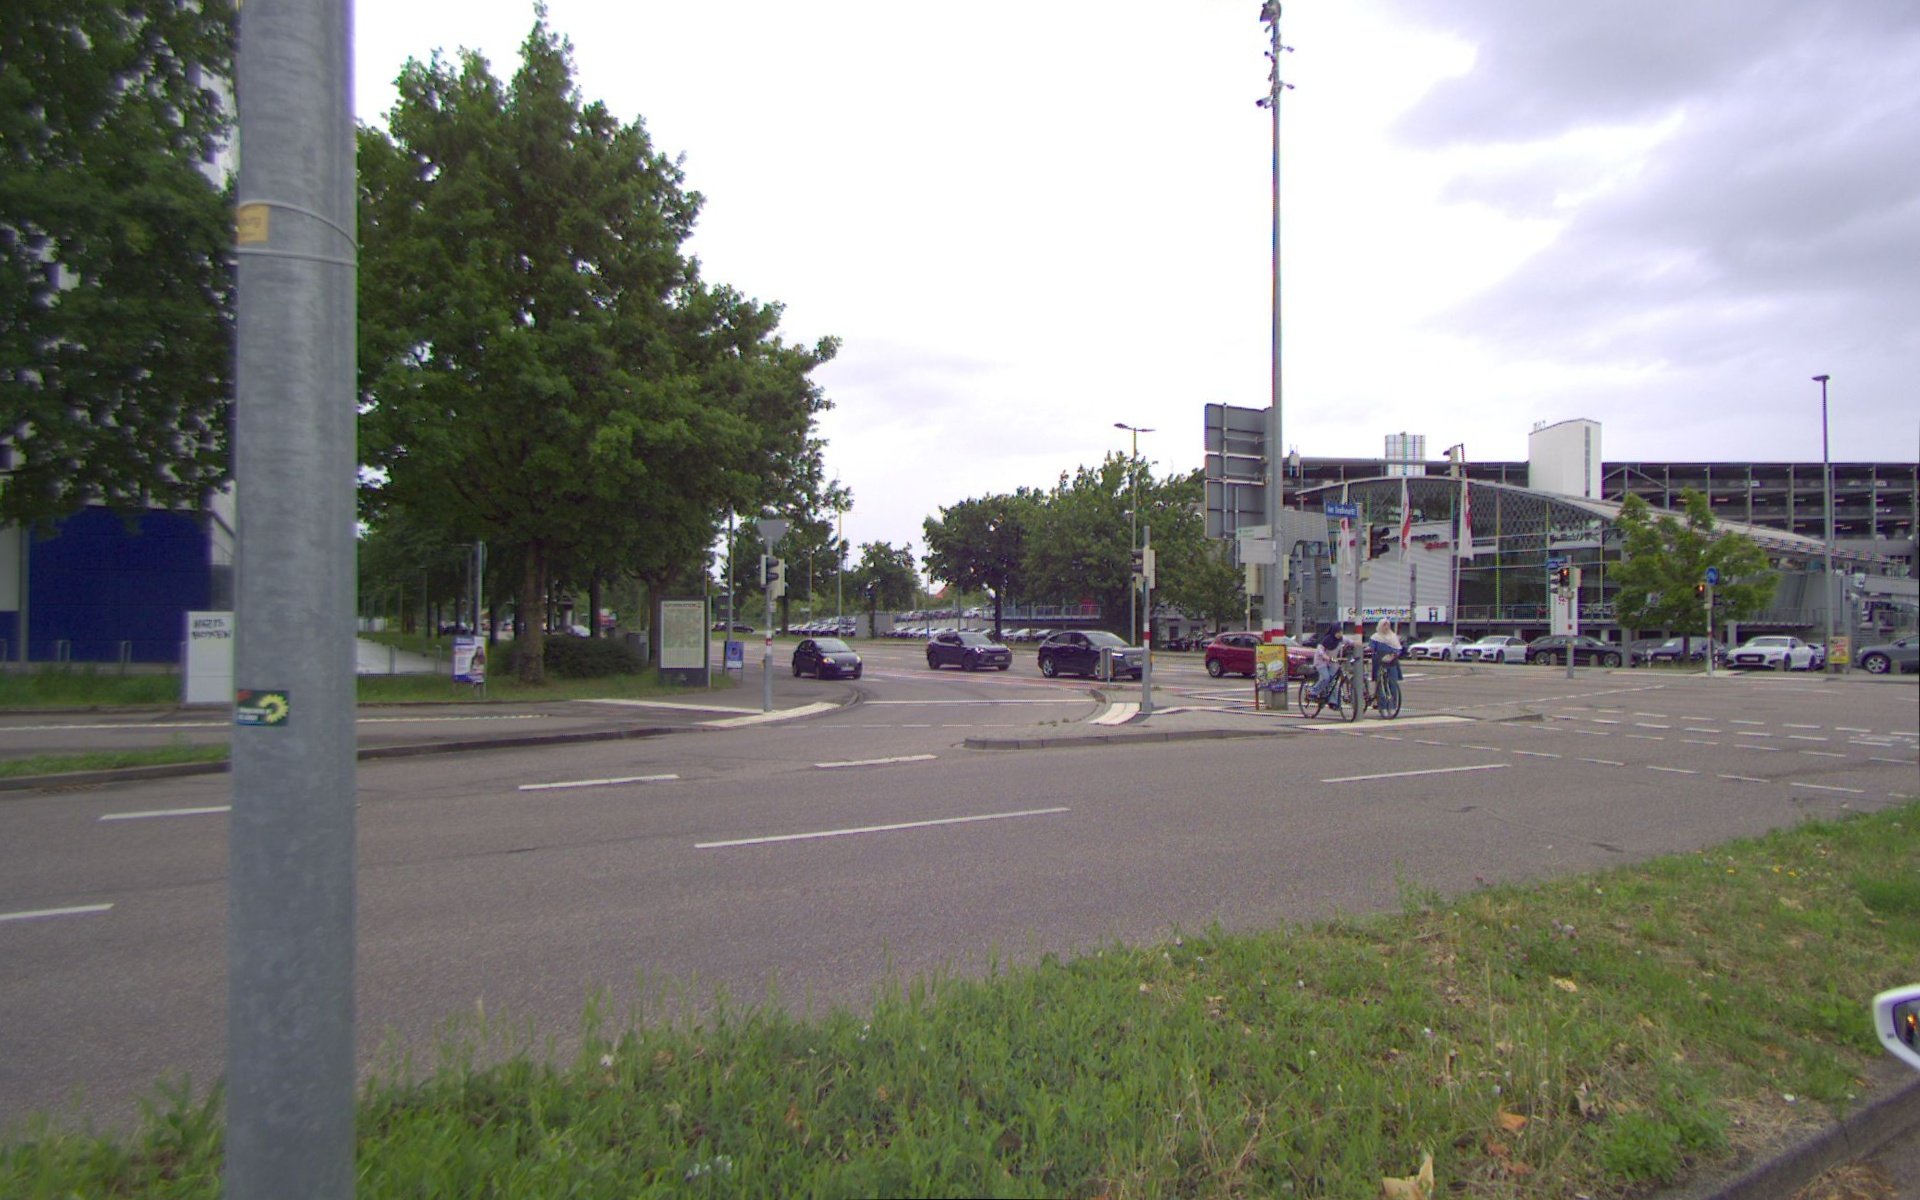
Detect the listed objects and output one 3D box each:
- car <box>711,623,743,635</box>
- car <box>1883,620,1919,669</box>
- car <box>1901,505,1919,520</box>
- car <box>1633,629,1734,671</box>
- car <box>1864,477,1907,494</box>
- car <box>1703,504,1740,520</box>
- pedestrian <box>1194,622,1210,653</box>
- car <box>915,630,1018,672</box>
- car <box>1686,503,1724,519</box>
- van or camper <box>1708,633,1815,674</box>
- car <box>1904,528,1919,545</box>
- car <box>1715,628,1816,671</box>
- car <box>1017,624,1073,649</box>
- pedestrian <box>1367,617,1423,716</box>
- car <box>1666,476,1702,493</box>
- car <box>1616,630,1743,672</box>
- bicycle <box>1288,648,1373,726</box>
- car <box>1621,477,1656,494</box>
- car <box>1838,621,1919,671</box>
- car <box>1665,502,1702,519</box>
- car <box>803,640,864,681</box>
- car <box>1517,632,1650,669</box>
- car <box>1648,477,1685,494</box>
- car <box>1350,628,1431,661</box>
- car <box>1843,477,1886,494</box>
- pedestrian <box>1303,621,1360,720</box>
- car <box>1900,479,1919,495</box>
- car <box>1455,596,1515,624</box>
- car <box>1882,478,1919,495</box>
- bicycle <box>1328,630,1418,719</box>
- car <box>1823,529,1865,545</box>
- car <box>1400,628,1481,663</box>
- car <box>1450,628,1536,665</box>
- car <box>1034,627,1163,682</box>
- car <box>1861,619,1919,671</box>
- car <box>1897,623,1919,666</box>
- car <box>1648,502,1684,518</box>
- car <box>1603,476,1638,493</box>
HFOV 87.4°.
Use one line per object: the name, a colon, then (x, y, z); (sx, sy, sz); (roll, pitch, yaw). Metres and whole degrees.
car: (-31.370, 3.867, 135.326); (3.949, 1.455, 1.718); (2, 0, -27)
car: (41.747, 1.836, 41.424); (2.243, 2.040, 4.993); (2, -4, -34)
car: (123.910, -11.325, 129.271); (1.960, 1.689, 4.001); (1, -1, 2)
car: (29.973, 2.086, 41.585); (4.473, 1.505, 2.050); (5, -5, -35)
car: (119.137, -14.762, 129.381); (1.960, 1.689, 4.001); (1, -1, 2)
car: (98.404, -11.388, 129.846); (1.960, 1.689, 4.001); (1, -1, 2)
pedestrian: (15.028, 2.357, 62.391); (0.667, 1.895, 0.712); (3, -3, -34)
car: (0.204, 2.022, 40.402); (1.867, 1.565, 4.554); (-1, -2, -35)
car: (96.219, -11.468, 129.746); (1.960, 1.689, 4.001); (1, -1, 2)
van or camper: (41.432, 2.737, 52.017); (1.828, 1.840, 3.963); (2, 0, -33)
car: (126.432, -8.361, 130.693); (2.167, 1.971, 5.331); (1, -1, -1)
car: (31.484, 1.946, 39.228); (4.185, 1.505, 1.858); (4, -4, -33)
car: (6.604, 2.845, 78.252); (4.037, 1.505, 1.802); (8, -3, -34)
pedestrian: (7.402, 1.131, 17.120); (0.628, 1.648, 0.692); (0, -2, 1)
car: (93.854, -14.925, 130.290); (1.960, 1.689, 4.001); (1, -1, 2)
car: (35.762, 2.498, 50.084); (1.978, 1.965, 4.776); (1, -2, -32)
bicycle: (6.057, 1.400, 16.535); (0.499, 1.181, 1.946); (3, -3, -5)
car: (88.311, -14.916, 130.825); (1.960, 1.689, 4.001); (1, -1, 2)
car: (37.056, 1.774, 38.519); (1.979, 1.887, 4.744); (2, -4, -34)
car: (93.616, -11.564, 130.073); (1.960, 1.689, 4.001); (1, -1, 2)
car: (-4.752, 2.191, 37.379); (1.699, 1.389, 3.988); (0, -2, -16)
car: (27.864, 2.230, 45.036); (1.873, 1.505, 4.714); (5, -4, -32)
car: (91.485, -14.800, 130.123); (1.960, 1.689, 4.001); (1, -1, 2)
car: (22.491, 2.337, 52.392); (4.188, 1.505, 1.855); (5, -3, -33)
car: (116.517, -14.778, 129.430); (1.960, 1.689, 4.001); (1, -1, 2)
pedestrian: (6.115, 1.160, 16.551); (0.641, 1.569, 0.649); (3, -2, -6)
car: (124.141, -14.694, 129.712); (1.960, 1.689, 4.001); (1, -1, 2)
car: (34.261, 0.657, 65.564); (3.960, 1.684, 1.808); (2, 0, -35)
car: (121.897, -14.697, 129.739); (1.960, 1.689, 4.001); (1, -1, 2)
bicycle: (7.006, 1.260, 17.139); (0.585, 1.414, 1.934); (-1, -4, -4)
car: (113.910, -8.071, 129.520); (1.960, 1.689, 4.001); (1, -1, 2)
car: (23.987, 2.284, 50.094); (4.002, 1.505, 1.860); (5, -3, -33)
car: (25.509, 2.229, 48.029); (4.154, 1.505, 1.836); (5, -3, -33)
car: (4.580, 1.779, 33.765); (1.867, 1.659, 4.292); (-2, 0, -35)
car: (39.195, 1.788, 39.898); (1.979, 2.040, 4.674); (2, -4, -33)
car: (43.783, 1.916, 43.109); (2.034, 1.900, 4.914); (3, -4, -35)
car: (91.333, -11.652, 130.060); (1.960, 1.689, 4.001); (1, -1, 2)
car: (85.917, -15.009, 130.722); (1.960, 1.689, 4.001); (1, -1, 2)
